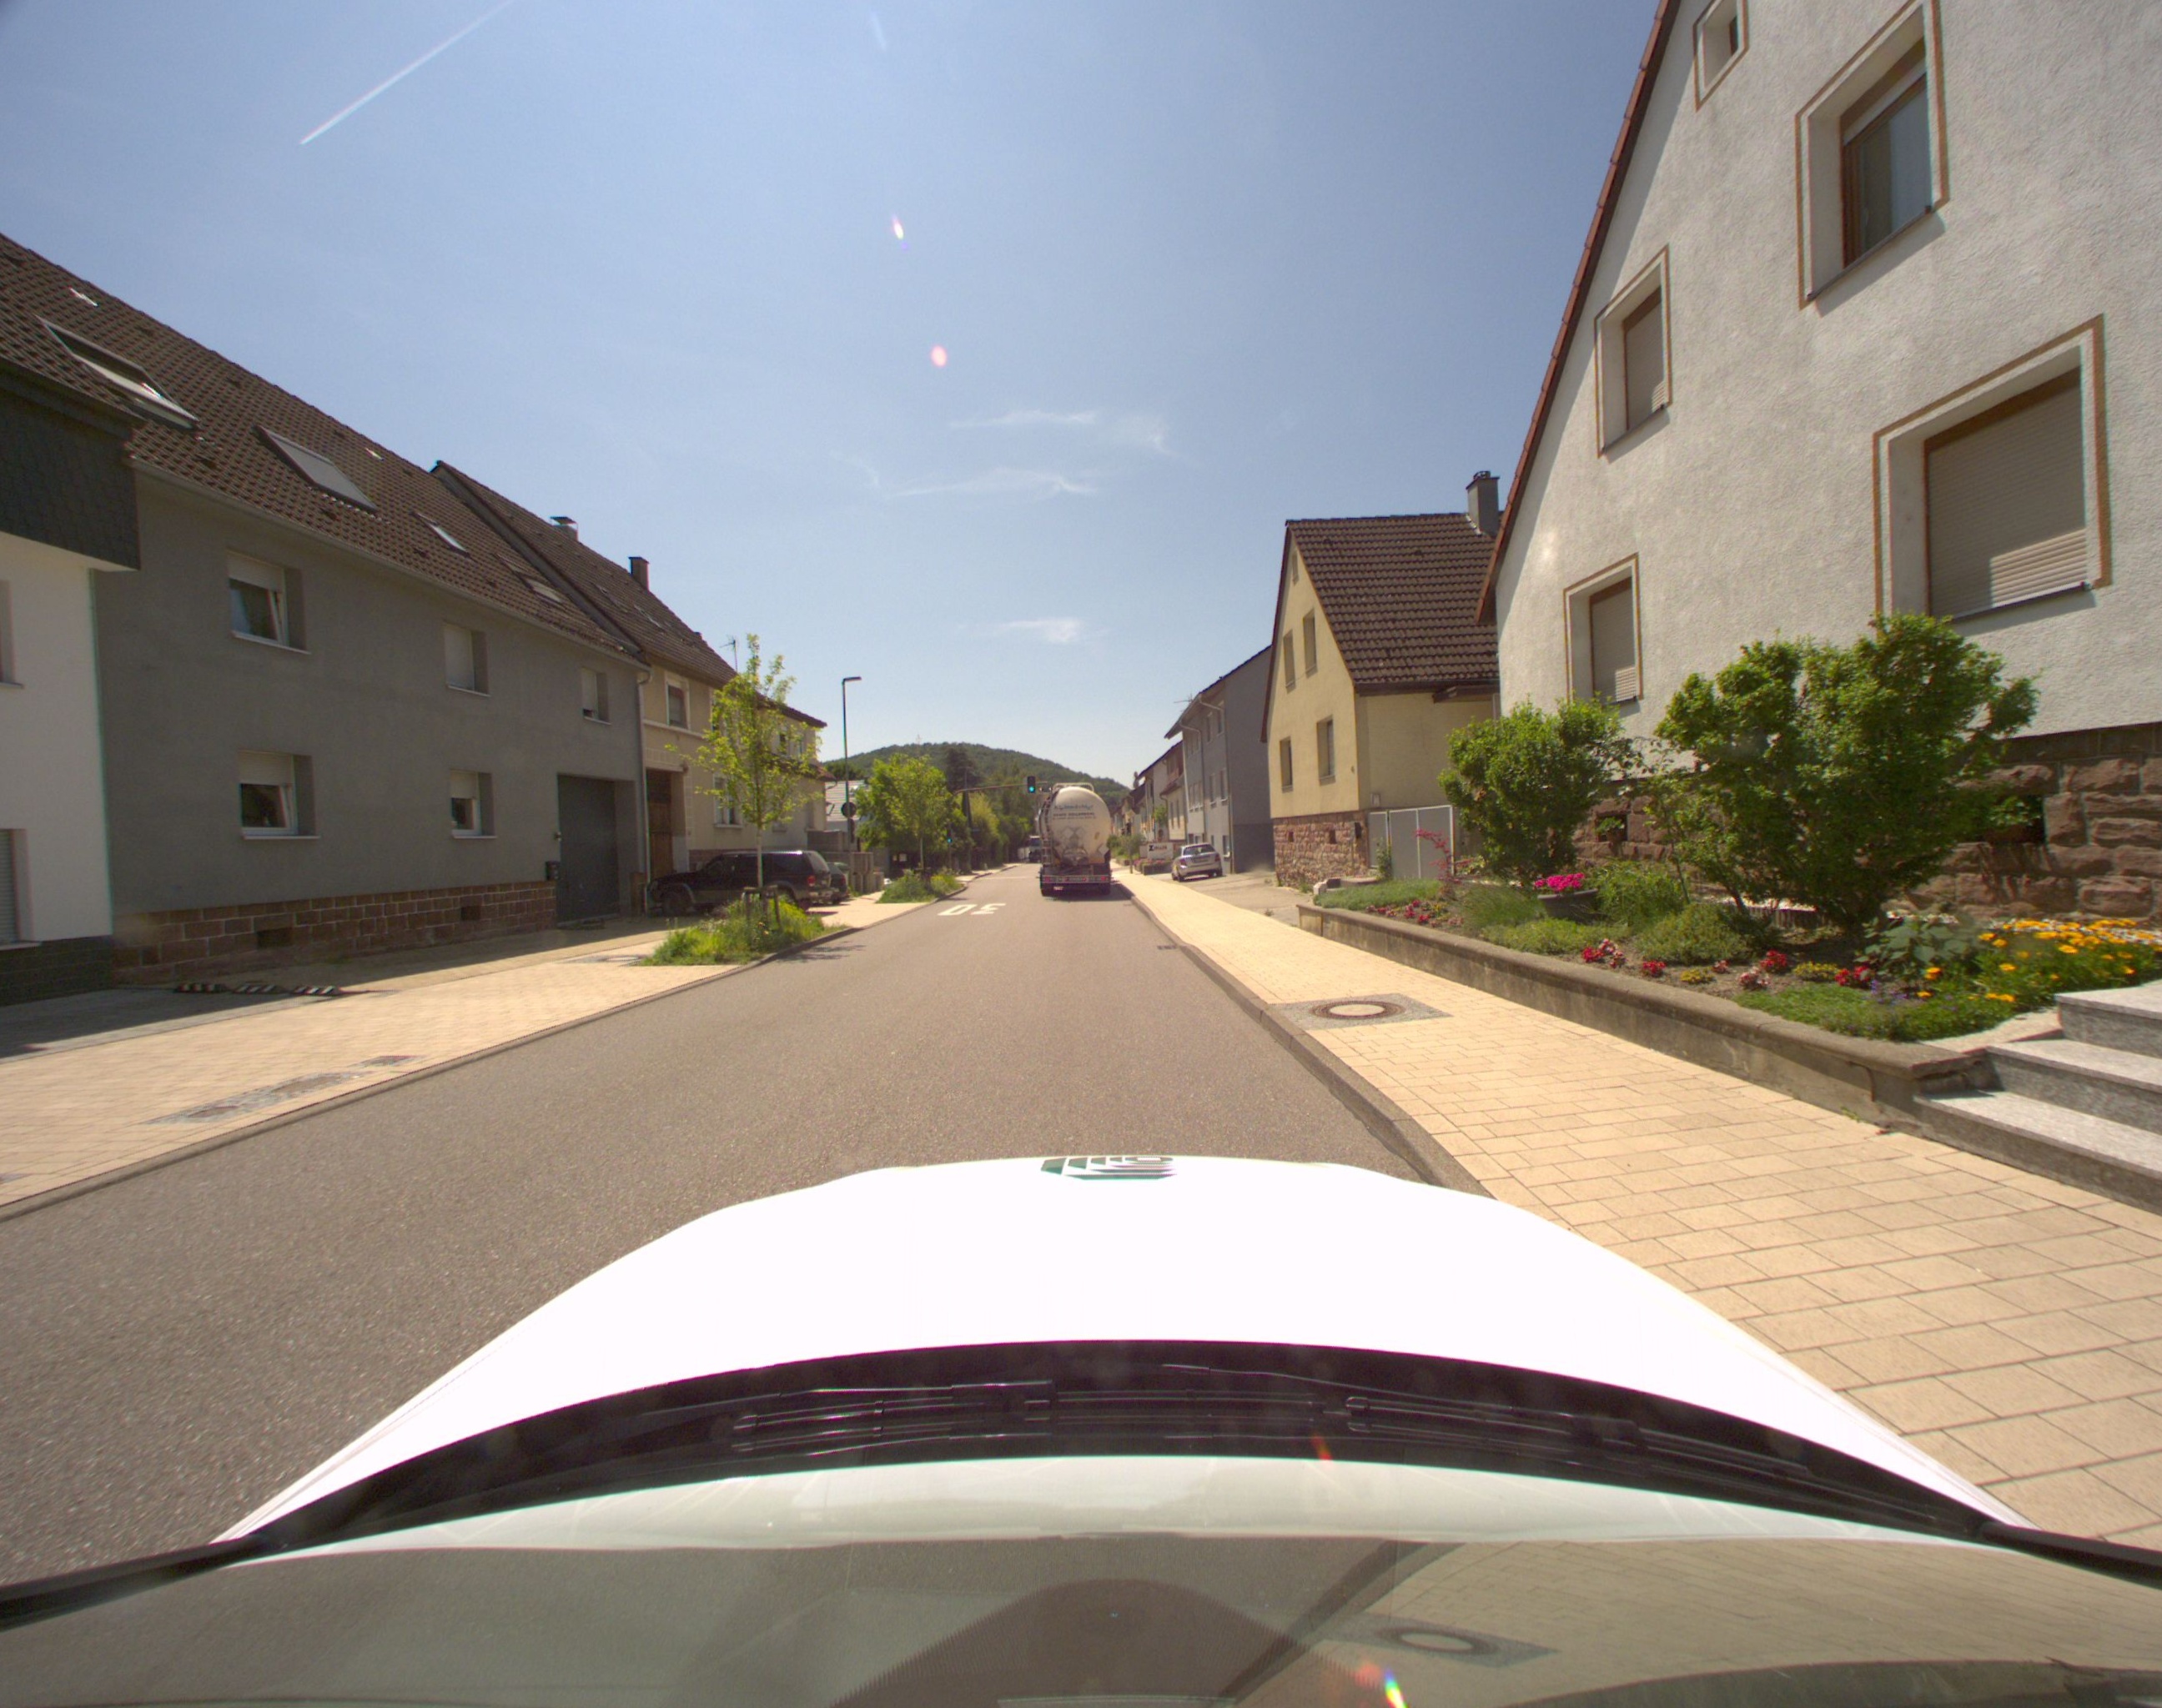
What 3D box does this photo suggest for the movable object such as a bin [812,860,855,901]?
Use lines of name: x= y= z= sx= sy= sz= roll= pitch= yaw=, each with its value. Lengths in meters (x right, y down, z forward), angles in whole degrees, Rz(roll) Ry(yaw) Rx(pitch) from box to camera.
movable object such as a bin: x=-8.738 y=0.919 z=28.850 sx=0.985 sy=1.319 sz=1.405 roll=-1 pitch=2 yaw=4

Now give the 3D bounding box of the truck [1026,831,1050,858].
truck: x=-5.577 y=-1.168 z=106.658 sx=2.720 sy=3.371 sz=8.633 roll=-1 pitch=0 yaw=0

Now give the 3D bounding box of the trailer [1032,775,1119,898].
trailer: x=-0.308 y=-0.588 z=32.038 sx=2.788 sy=4.001 sz=10.317 roll=-1 pitch=0 yaw=-1

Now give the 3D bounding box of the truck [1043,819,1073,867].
truck: x=-2.353 y=-1.075 z=86.462 sx=2.839 sy=4.678 sz=11.333 roll=-2 pitch=0 yaw=-1

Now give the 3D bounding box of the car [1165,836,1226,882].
car: x=4.621 y=0.173 z=33.470 sx=1.784 sy=1.541 sz=4.521 roll=-8 pitch=0 yaw=2

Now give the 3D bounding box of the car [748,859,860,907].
car: x=-9.217 y=0.960 z=27.021 sx=3.505 sy=1.439 sz=1.710 roll=-2 pitch=0 yaw=34

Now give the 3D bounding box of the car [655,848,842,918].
car: x=-9.211 y=0.776 z=22.846 sx=4.382 sy=1.750 sz=1.877 roll=-2 pitch=0 yaw=-1
